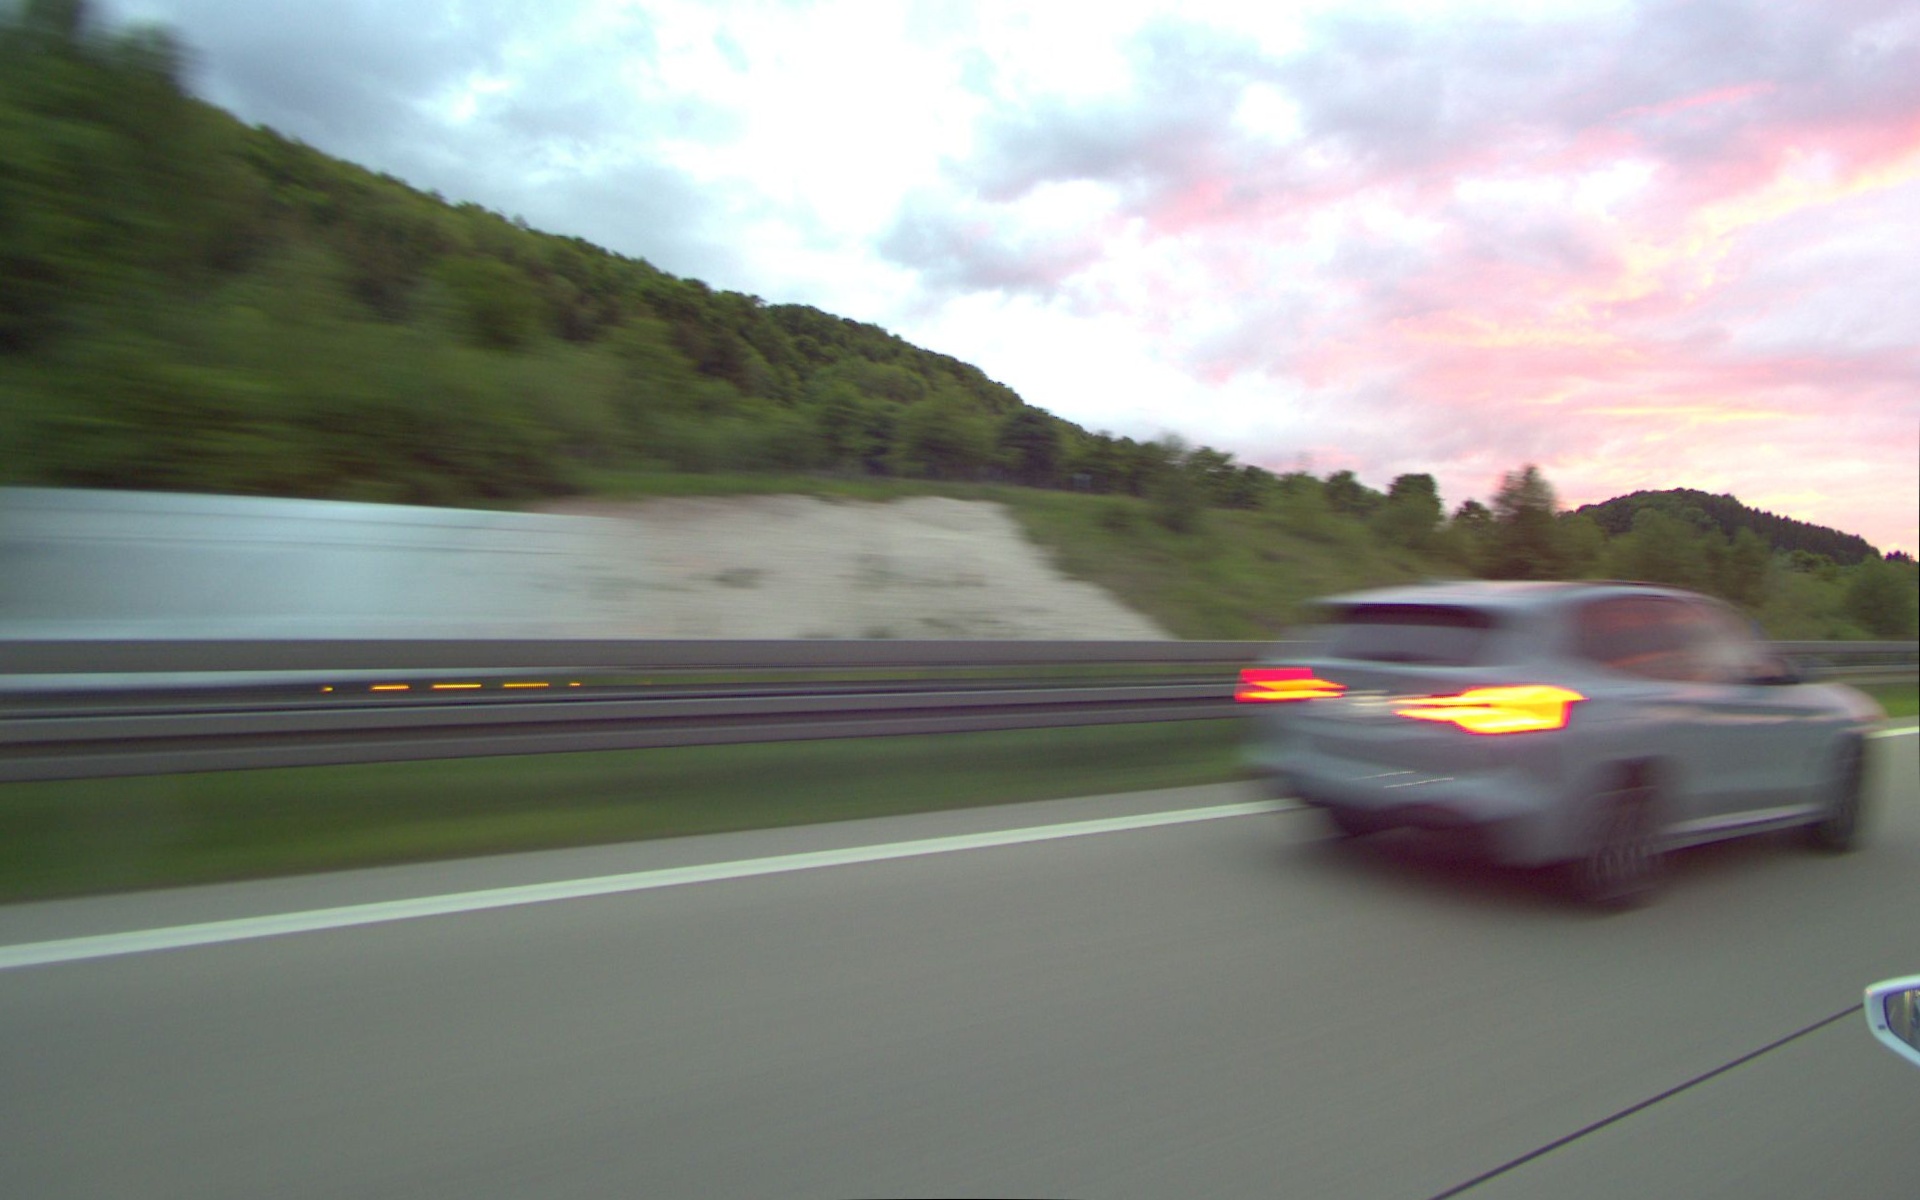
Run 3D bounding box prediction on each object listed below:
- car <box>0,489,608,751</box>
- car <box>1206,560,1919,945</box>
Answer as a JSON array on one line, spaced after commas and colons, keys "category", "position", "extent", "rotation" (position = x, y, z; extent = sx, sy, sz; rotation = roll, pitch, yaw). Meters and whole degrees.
[{"category": "car", "position": [-7.224, 0.241, 10.757], "extent": [6.264, 2.317, 1.984], "rotation": [2, -1, -30]}, {"category": "car", "position": [4.350, 0.737, 6.631], "extent": [5.574, 1.682, 1.880], "rotation": [2, -1, -31]}]
